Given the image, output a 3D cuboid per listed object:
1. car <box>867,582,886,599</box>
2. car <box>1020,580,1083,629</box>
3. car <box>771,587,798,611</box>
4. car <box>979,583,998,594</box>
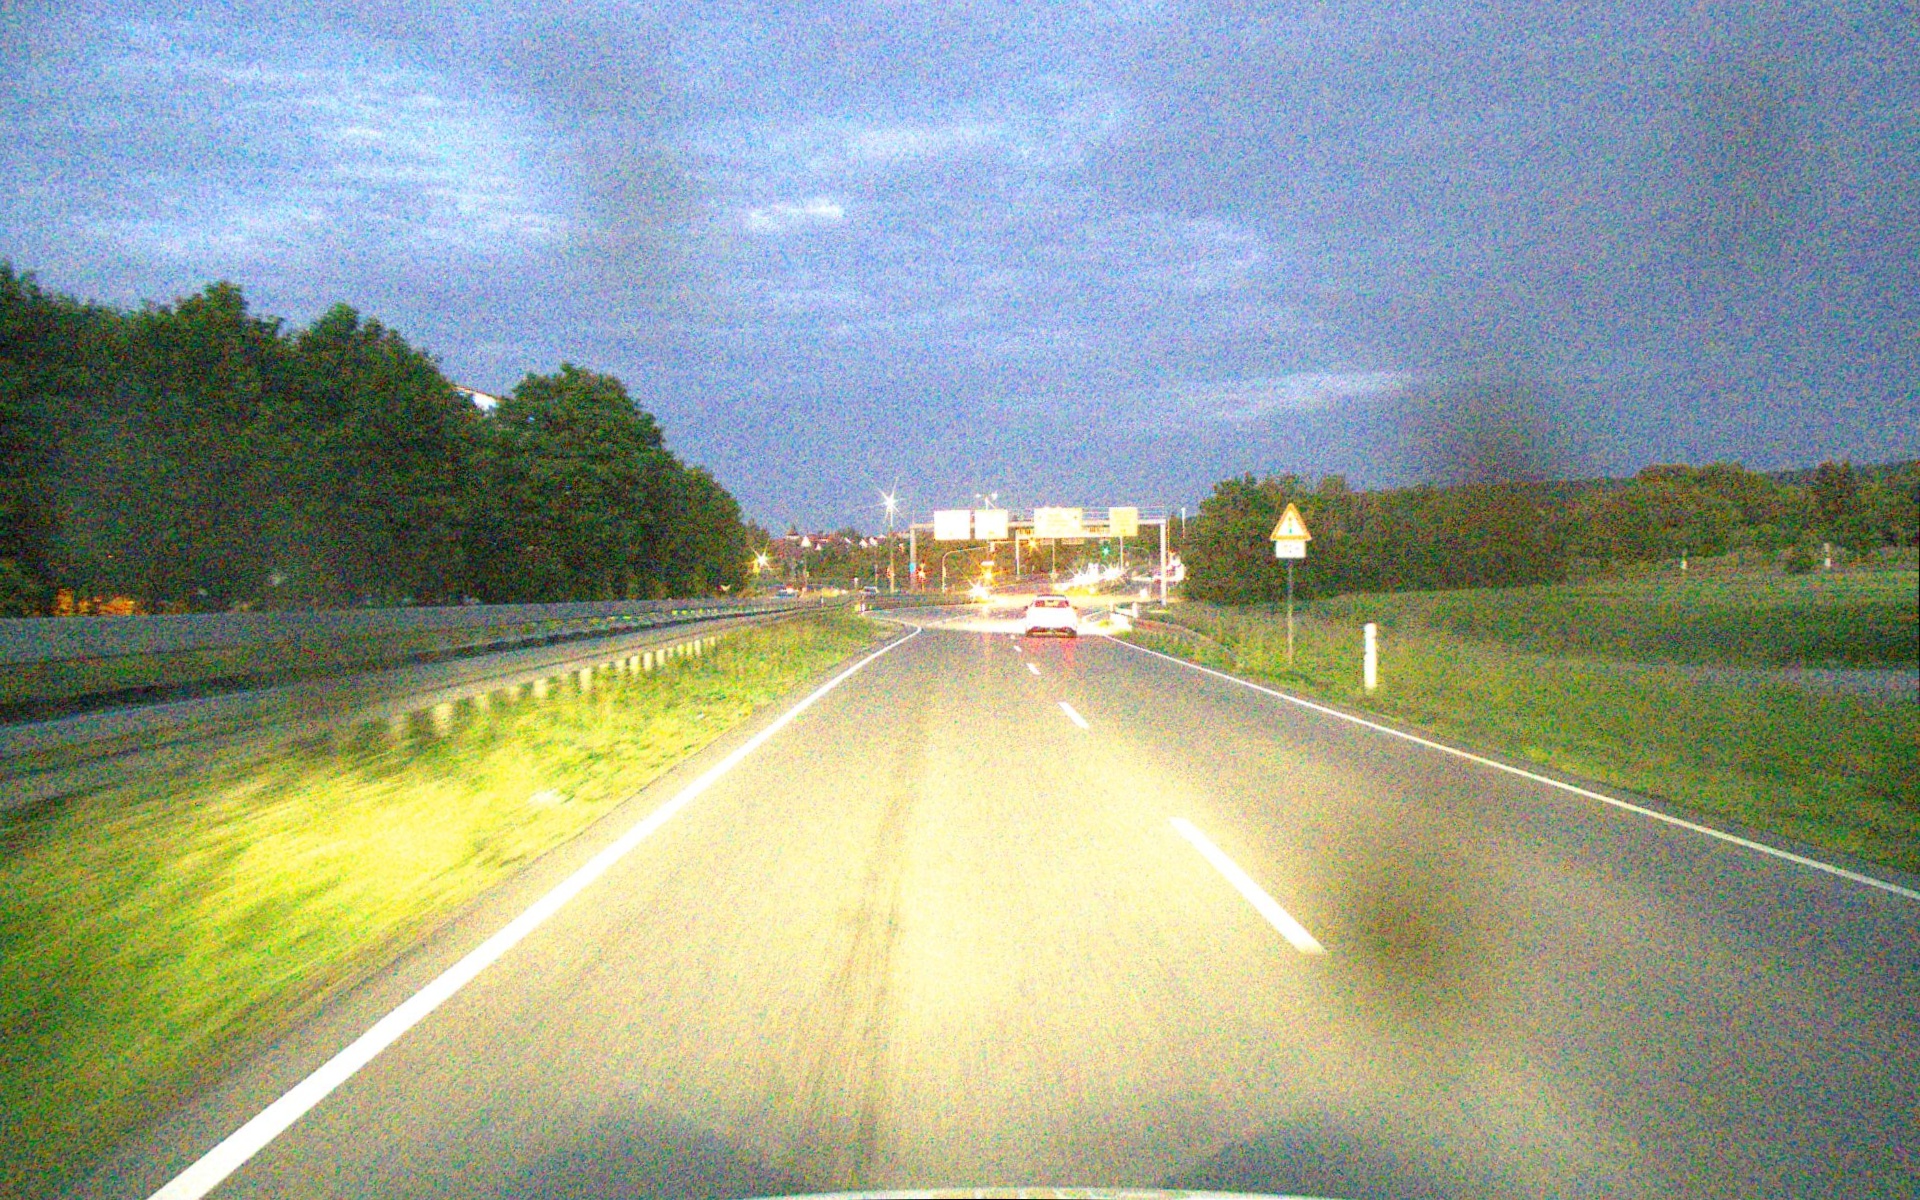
[{"bbox_3d":[-8.216,-0.917,163.520,1.666,1.651,4.307,0,1,0],"label":"car"},{"bbox_3d":[3.185,0.143,58.116,1.967,1.639,3.844,0,0,-1],"label":"car"},{"bbox_3d":[-12.482,-0.063,117.850,1.735,1.670,4.658,-1,0,-3],"label":"car"},{"bbox_3d":[3.814,-1.530,220.926,1.951,1.450,4.536,0,1,10],"label":"car"}]
